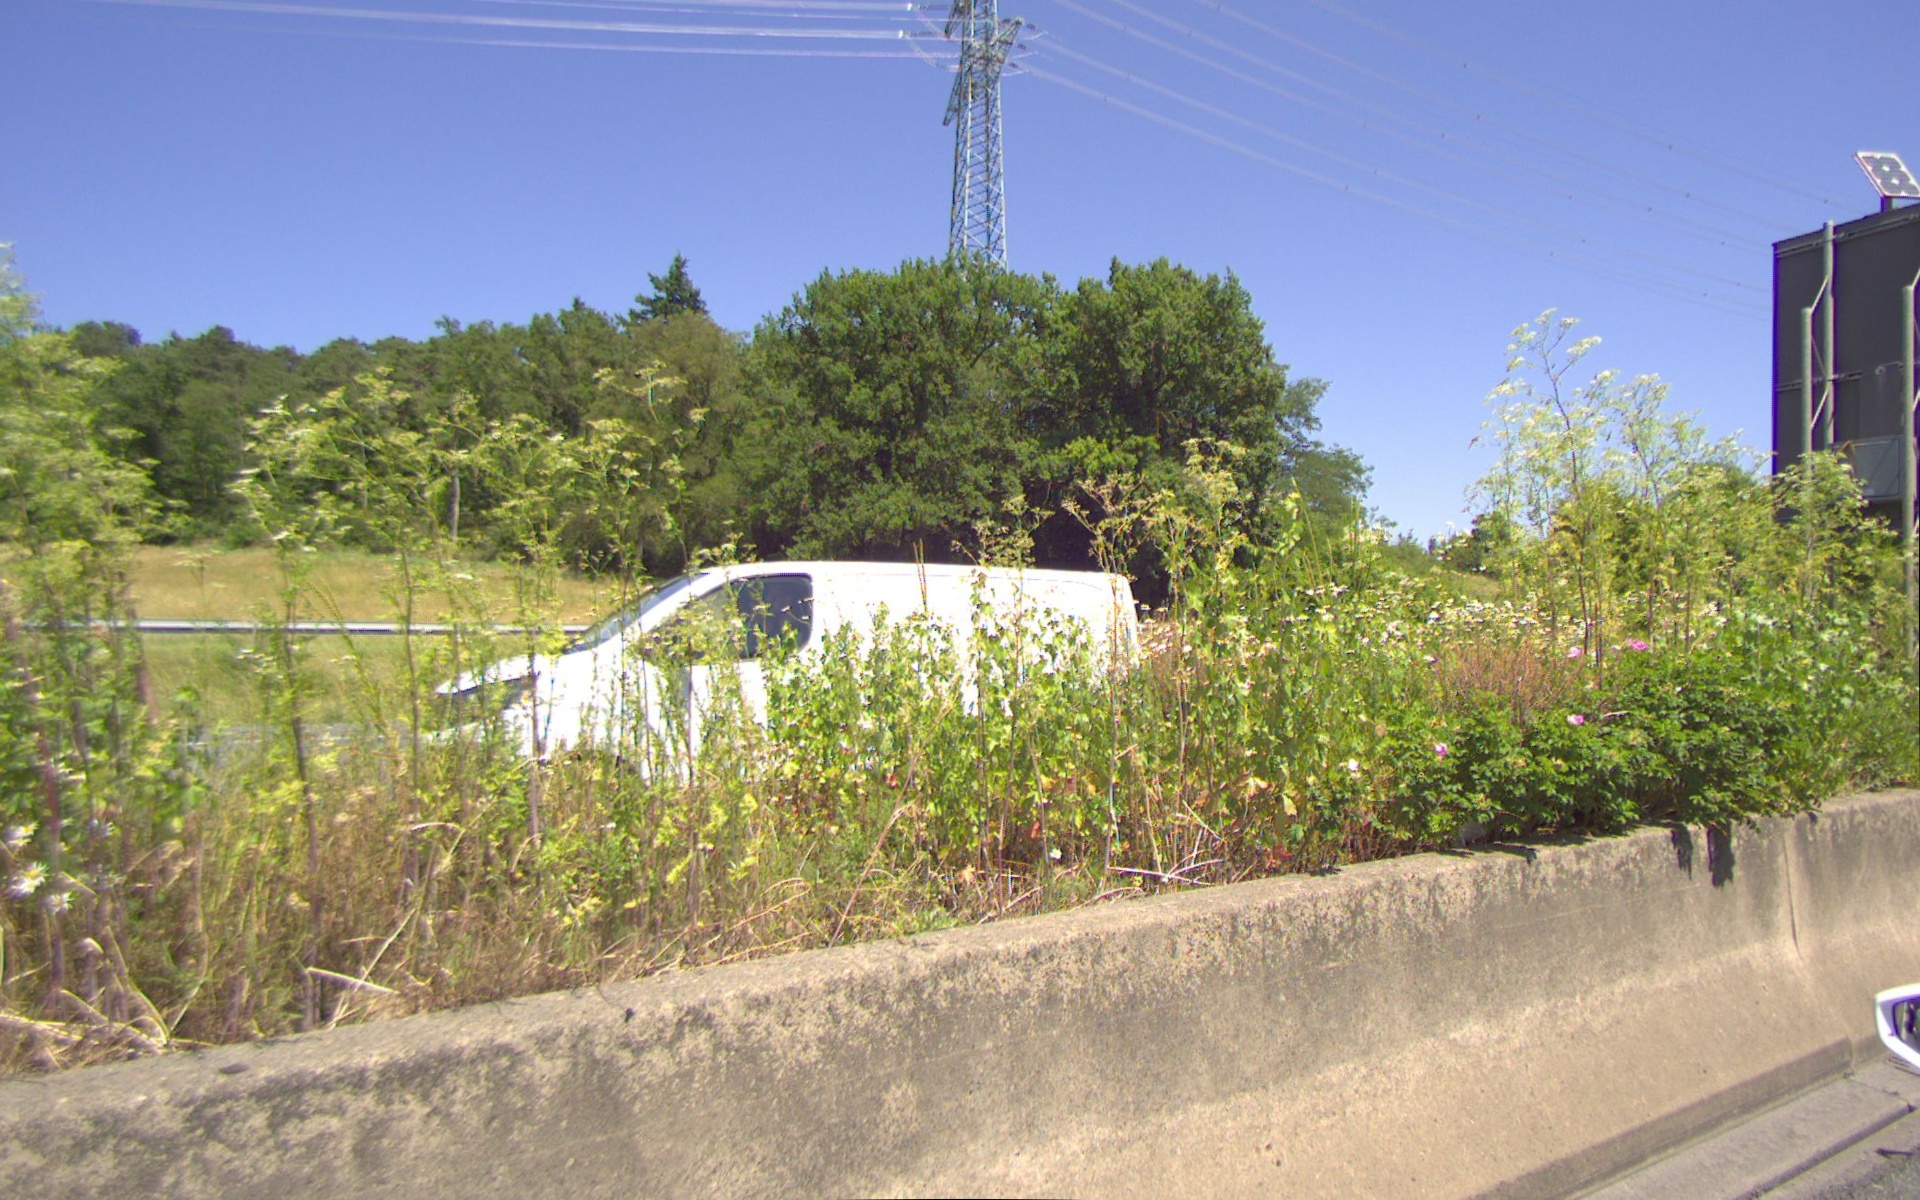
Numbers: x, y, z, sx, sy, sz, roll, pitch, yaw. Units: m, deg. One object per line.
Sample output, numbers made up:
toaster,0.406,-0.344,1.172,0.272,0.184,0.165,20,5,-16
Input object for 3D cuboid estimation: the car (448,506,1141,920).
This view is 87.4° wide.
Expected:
car,-1.099,0.659,7.301,4.547,2.175,1.984,2,-1,-30

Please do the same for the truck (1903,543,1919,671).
truck,40.736,0.329,40.210,3.984,5.117,3.288,2,-1,-29
